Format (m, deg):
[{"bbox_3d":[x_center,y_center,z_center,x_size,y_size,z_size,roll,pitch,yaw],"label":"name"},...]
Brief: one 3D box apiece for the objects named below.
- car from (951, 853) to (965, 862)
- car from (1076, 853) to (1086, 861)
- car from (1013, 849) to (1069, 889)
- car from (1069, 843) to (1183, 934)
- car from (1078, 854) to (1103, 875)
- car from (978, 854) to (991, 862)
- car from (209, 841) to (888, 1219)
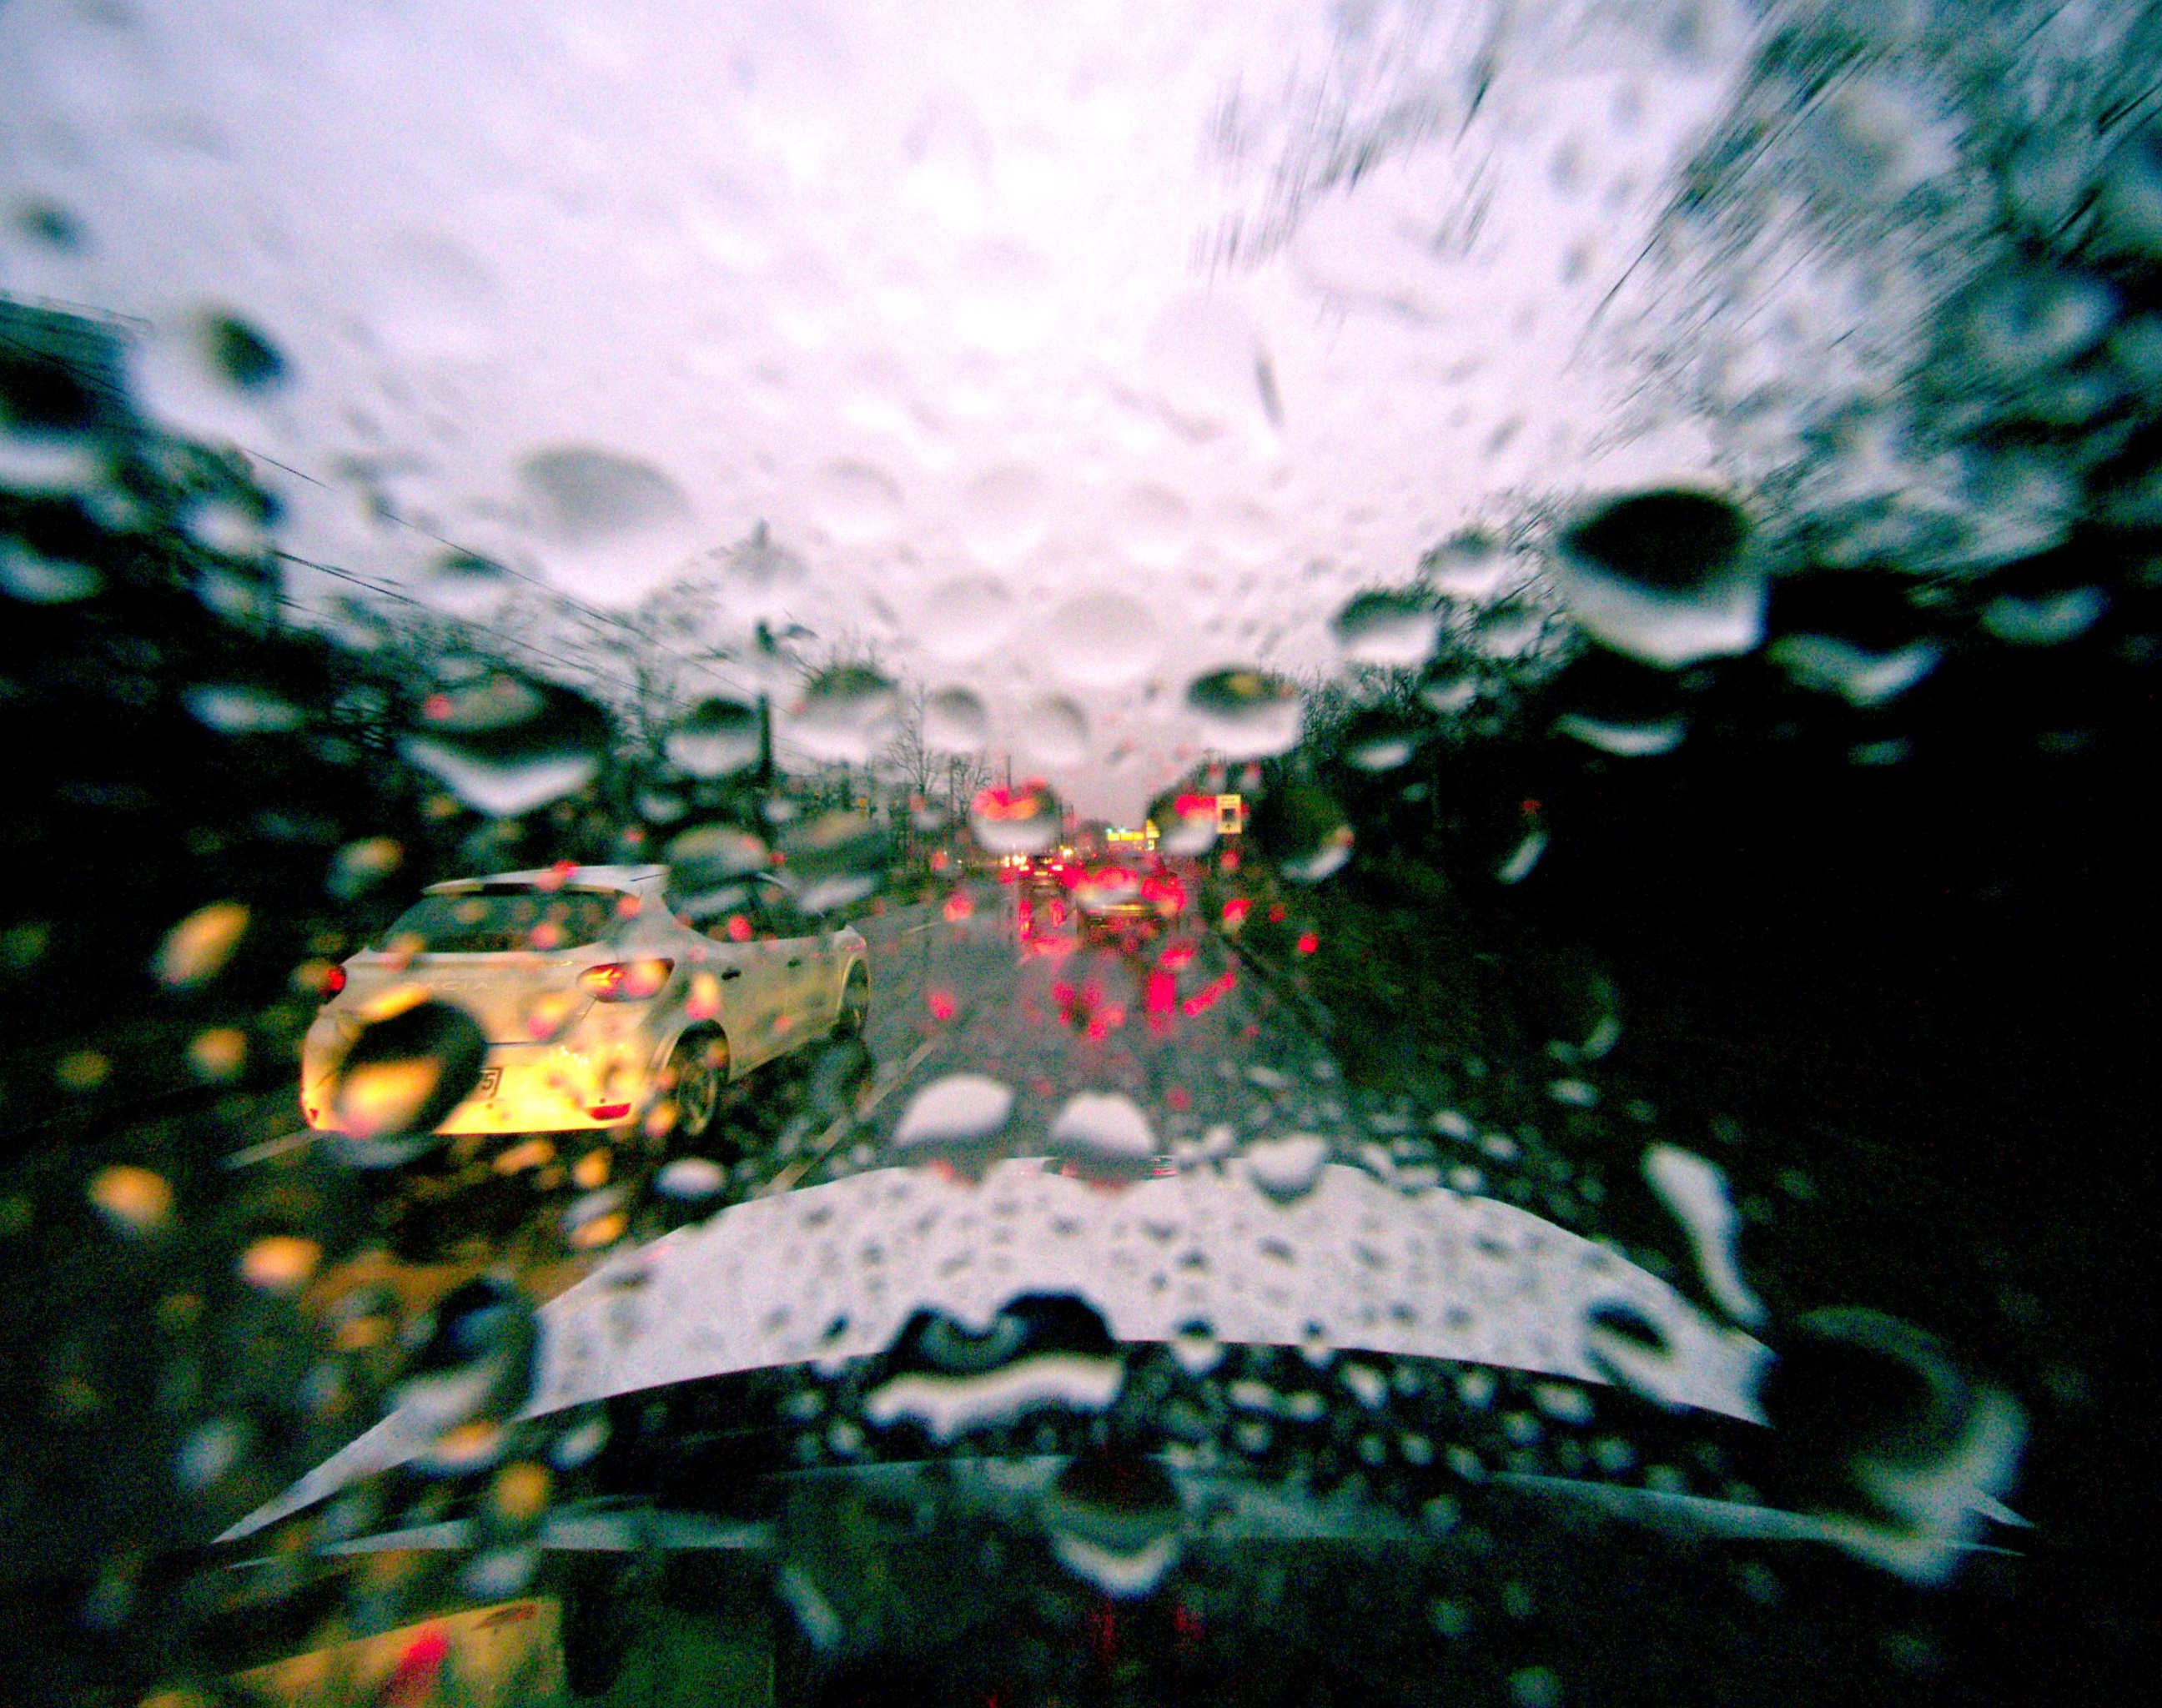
[{"bbox_3d":[-24.287,0.716,160.768,1.985,1.658,4.003,0,-1,3],"label":"car"},{"bbox_3d":[-0.010,0.601,176.084,1.985,1.666,3.840,-2,0,3],"label":"car"},{"bbox_3d":[-1.559,0.541,32.977,1.873,1.459,4.002,-2,0,2],"label":"car"},{"bbox_3d":[0.907,0.610,16.383,1.990,1.584,4.003,-1,0,3],"label":"car"},{"bbox_3d":[0.748,0.786,62.531,1.701,1.558,3.999,-1,0,3],"label":"car"},{"bbox_3d":[-19.775,0.765,167.408,1.985,1.658,4.003,0,-1,3],"label":"car"},{"bbox_3d":[-2.707,0.734,5.444,1.702,1.525,4.136,-1,0,1],"label":"car"}]
